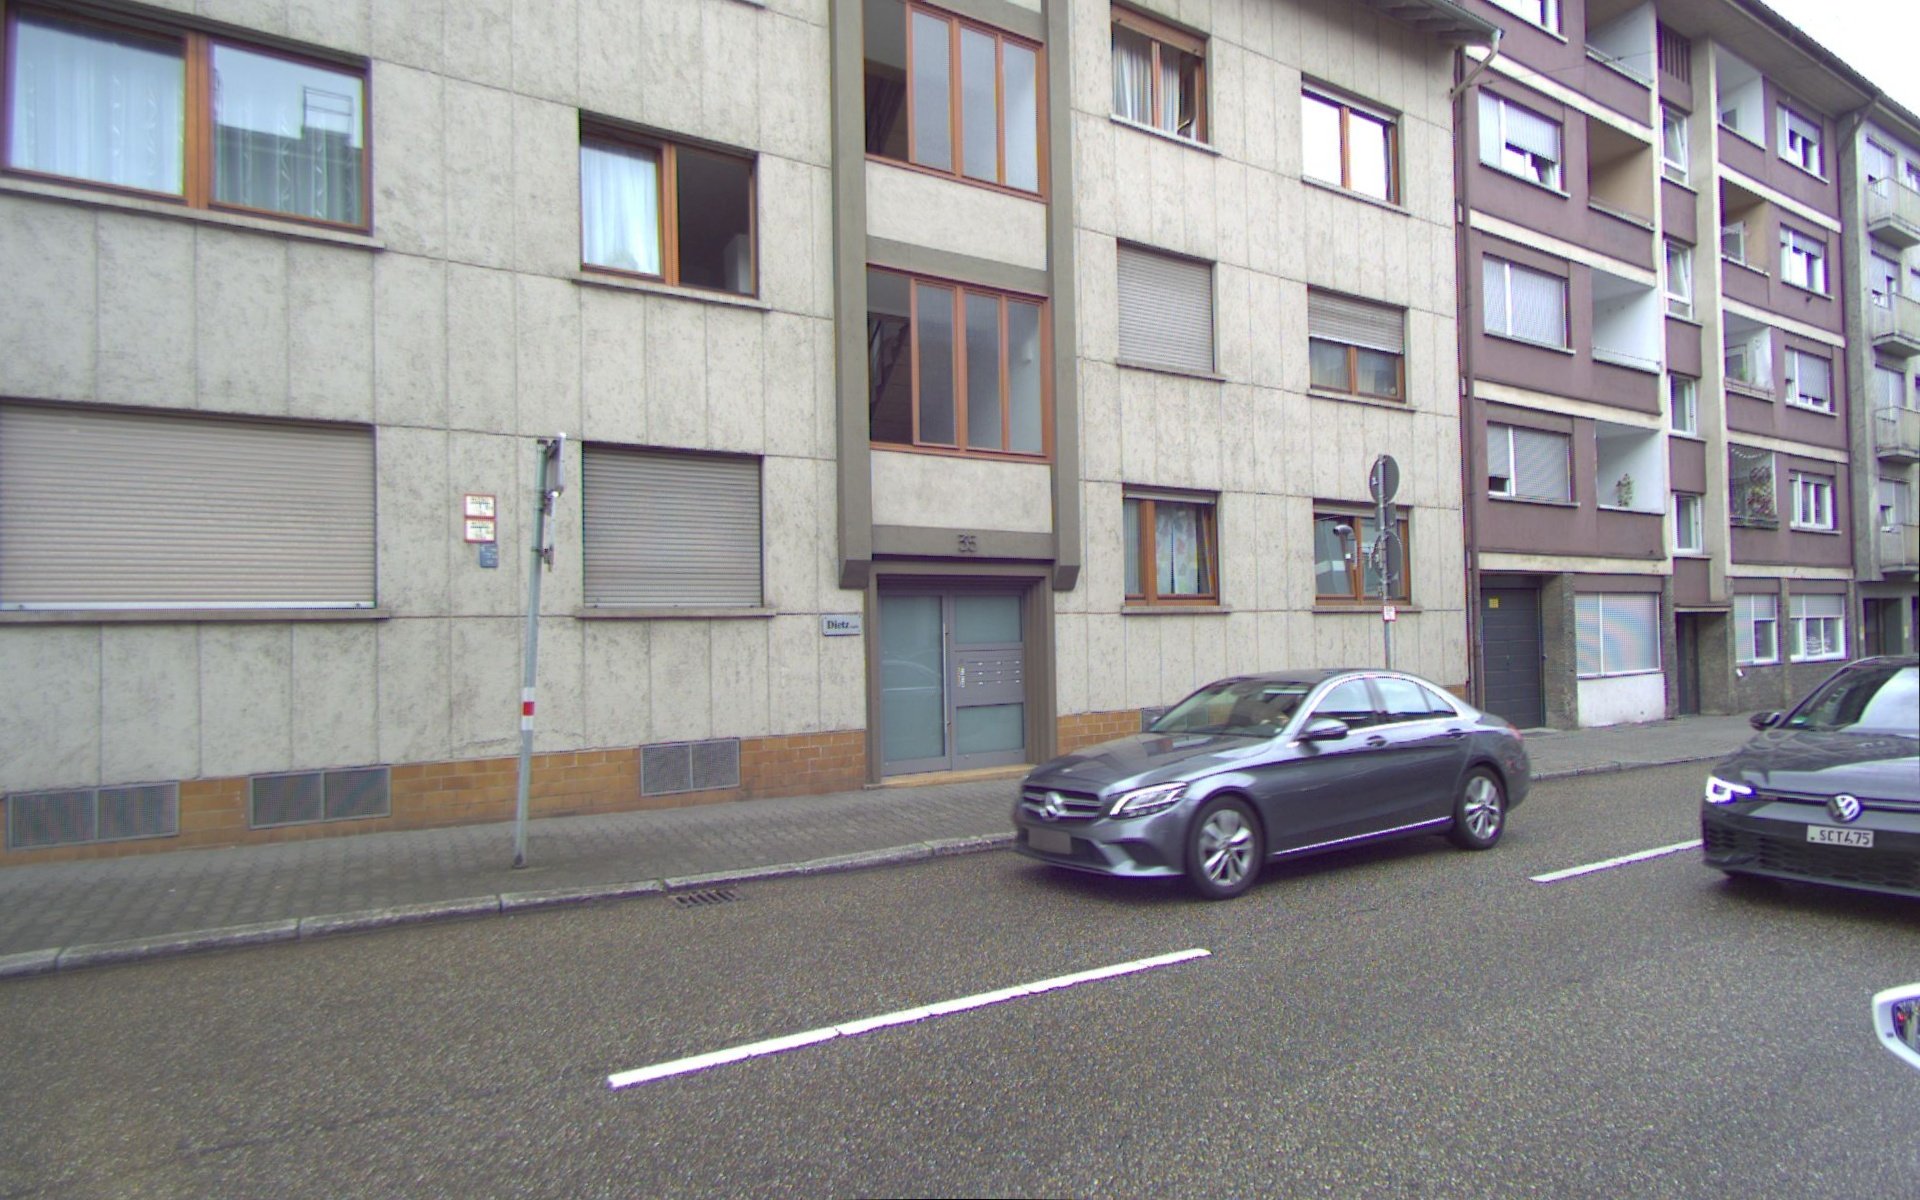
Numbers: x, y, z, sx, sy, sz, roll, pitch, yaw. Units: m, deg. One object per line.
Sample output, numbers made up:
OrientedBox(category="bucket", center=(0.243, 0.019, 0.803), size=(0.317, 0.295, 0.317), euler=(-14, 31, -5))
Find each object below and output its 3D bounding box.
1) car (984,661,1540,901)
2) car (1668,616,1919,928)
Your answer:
OrientedBox(category="car", center=(2.445, 1.200, 7.788), size=(4.318, 1.388, 1.686), euler=(2, -5, -32))
OrientedBox(category="car", center=(6.583, 0.978, 6.527), size=(4.170, 1.601, 1.687), euler=(2, -5, -32))
